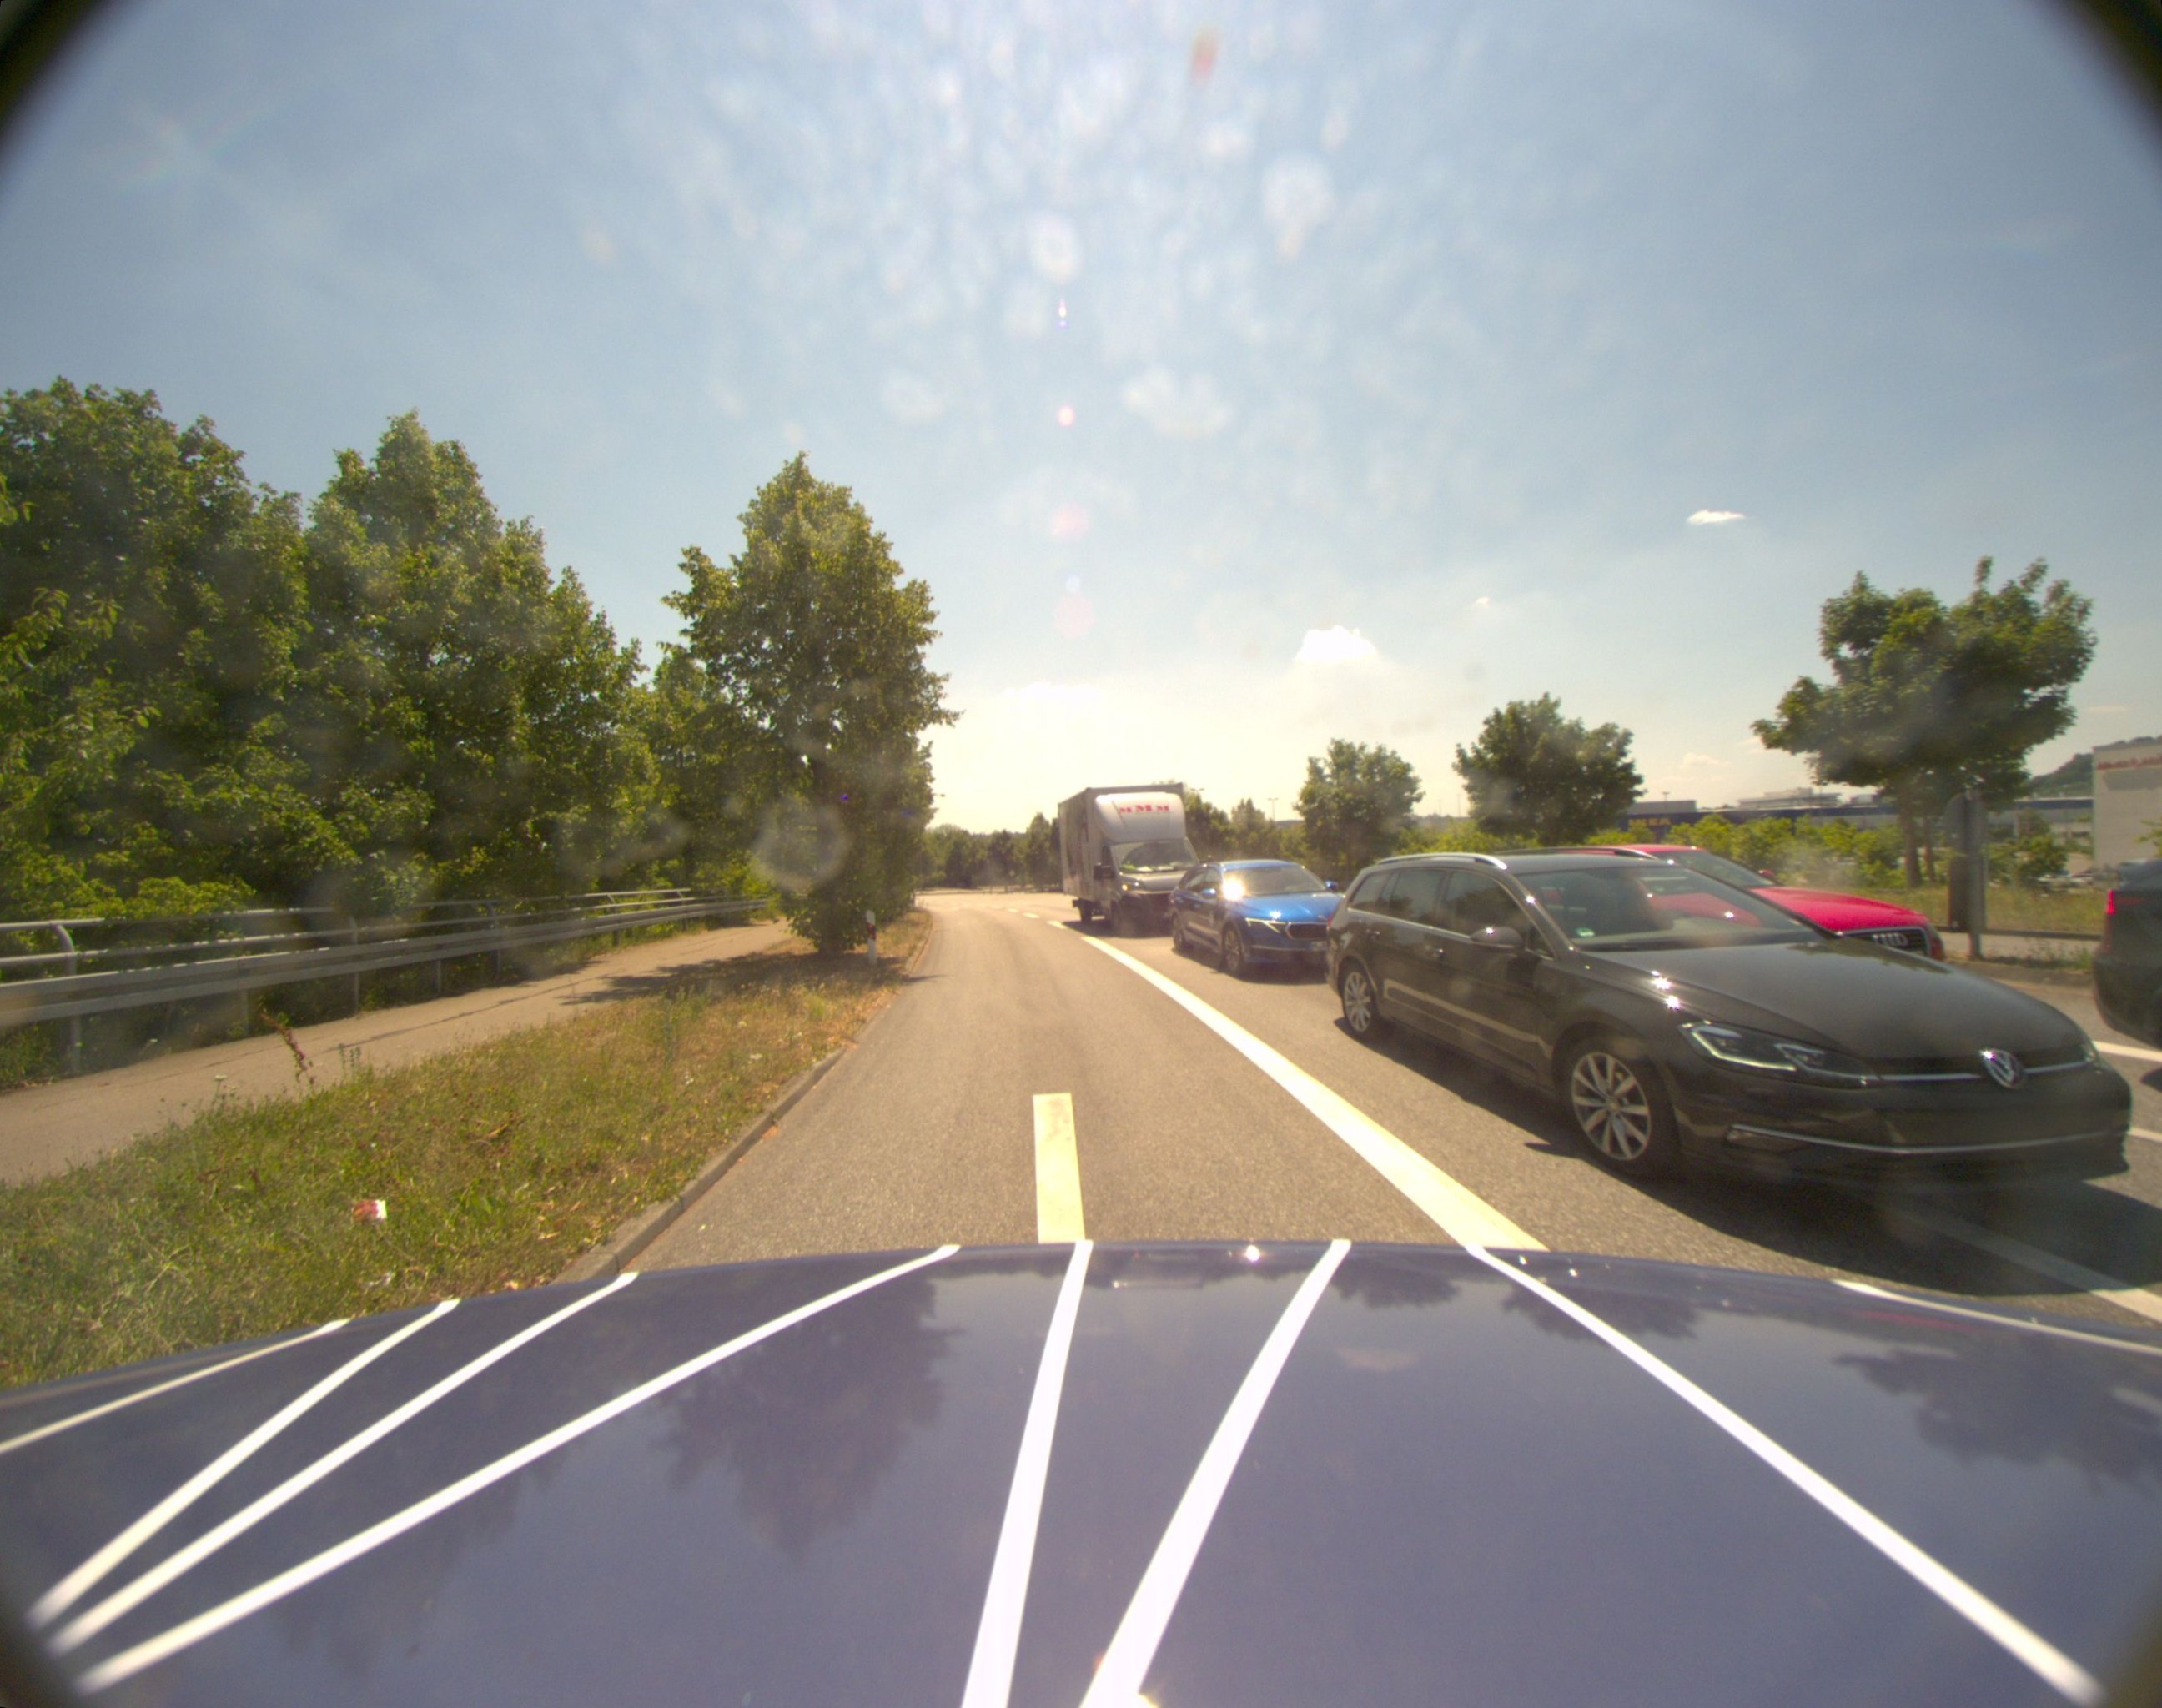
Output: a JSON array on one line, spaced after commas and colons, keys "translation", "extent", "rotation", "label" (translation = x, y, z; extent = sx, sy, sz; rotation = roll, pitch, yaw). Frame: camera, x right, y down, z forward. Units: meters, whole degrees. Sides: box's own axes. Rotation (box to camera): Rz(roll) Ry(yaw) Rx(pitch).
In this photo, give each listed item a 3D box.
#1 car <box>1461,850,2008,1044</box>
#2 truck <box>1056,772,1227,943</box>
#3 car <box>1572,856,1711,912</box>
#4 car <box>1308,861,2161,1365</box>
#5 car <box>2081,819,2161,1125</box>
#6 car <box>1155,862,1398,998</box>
[{"translation": [6.131, 0.692, 8.020], "extent": [1.665, 1.380, 4.447], "rotation": [-3, 1, -5], "label": "car"}, {"translation": [1.122, 0.142, 18.780], "extent": [2.416, 3.327, 7.198], "rotation": [-2, -1, -9], "label": "truck"}, {"translation": [21.722, 1.120, 29.528], "extent": [2.004, 1.949, 3.989], "rotation": [-2, 1, -42], "label": "car"}, {"translation": [3.102, 0.830, 4.646], "extent": [1.783, 1.474, 4.427], "rotation": [-2, 0, -4], "label": "car"}, {"translation": [6.698, 0.591, 2.065], "extent": [1.880, 1.591, 4.503], "rotation": [-2, 1, -5], "label": "car"}, {"translation": [2.488, 0.907, 10.976], "extent": [1.713, 1.454, 4.486], "rotation": [-3, -1, -9], "label": "car"}]
